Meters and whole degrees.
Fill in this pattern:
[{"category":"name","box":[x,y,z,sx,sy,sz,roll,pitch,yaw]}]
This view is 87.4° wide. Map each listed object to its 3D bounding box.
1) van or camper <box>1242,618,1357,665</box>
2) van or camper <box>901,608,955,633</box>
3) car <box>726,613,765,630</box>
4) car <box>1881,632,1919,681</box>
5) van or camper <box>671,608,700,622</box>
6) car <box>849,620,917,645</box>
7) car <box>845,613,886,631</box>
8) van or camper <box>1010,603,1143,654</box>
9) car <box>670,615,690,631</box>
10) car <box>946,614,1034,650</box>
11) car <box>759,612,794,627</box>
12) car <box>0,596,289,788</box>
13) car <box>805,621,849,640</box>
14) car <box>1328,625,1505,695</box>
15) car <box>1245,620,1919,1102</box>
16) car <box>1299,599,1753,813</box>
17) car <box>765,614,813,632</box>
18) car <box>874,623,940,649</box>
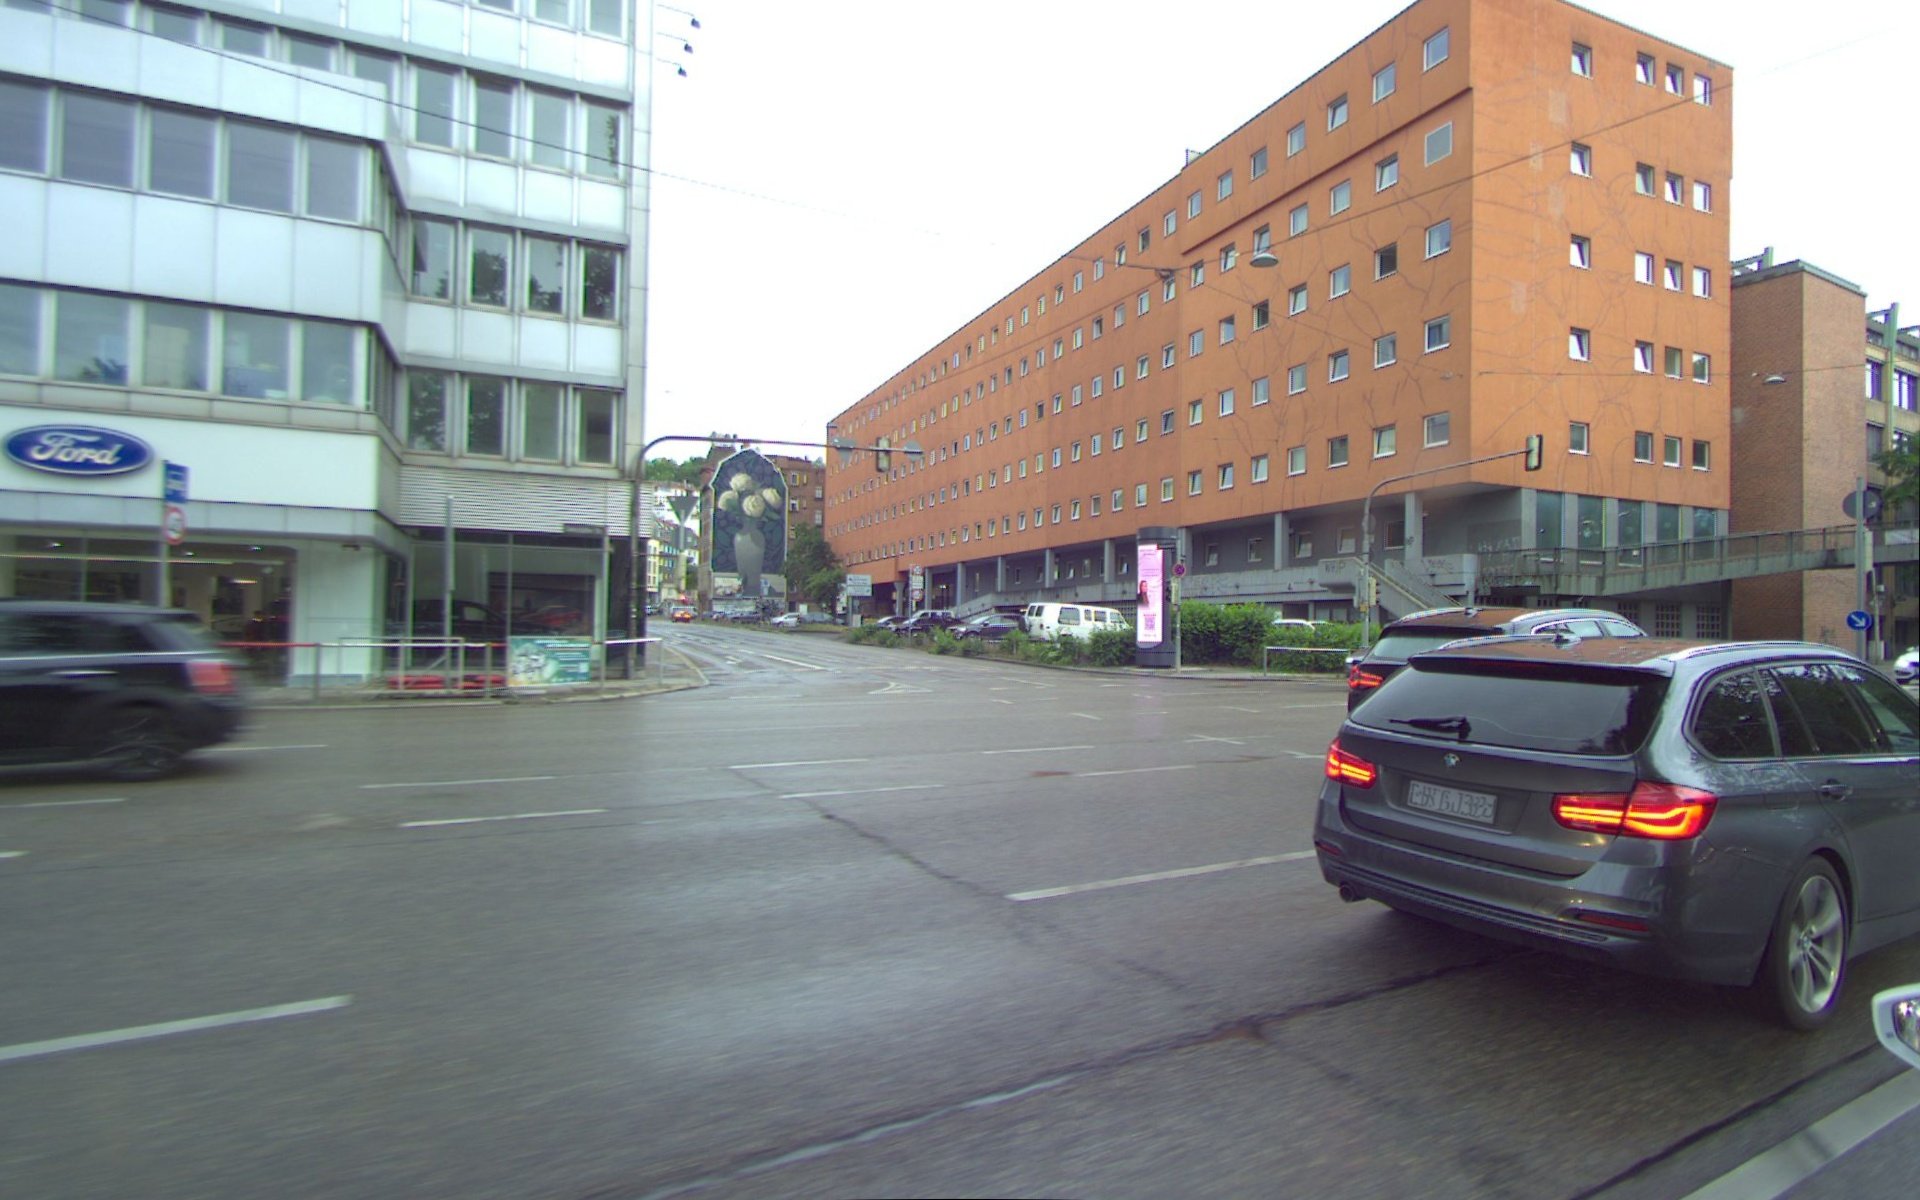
[{"category":"van or camper","box":[12.769,1.542,38.009,1.888,1.649,3.975,1,-1,-25]},{"category":"van or camper","box":[-2.845,1.814,88.398,4.315,2.004,1.962,2,1,-24]},{"category":"car","box":[-23.546,2.357,110.218,3.920,1.583,1.767,2,1,-22]},{"category":"car","box":[29.900,1.714,30.398,4.354,1.412,1.822,2,-3,-31]},{"category":"van or camper","box":[-45.539,2.520,166.598,4.556,2.040,1.990,2,1,-22]},{"category":"car","box":[-4.640,1.938,60.323,3.817,1.311,1.656,2,-1,-13]},{"category":"car","box":[-9.840,2.308,104.602,3.840,1.643,1.767,2,1,-22]},{"category":"van or camper","box":[5.053,1.237,43.541,5.380,2.004,2.119,2,1,-25]},{"category":"car","box":[-33.656,2.731,120.748,1.882,1.788,3.769,2,0,-23]},{"category":"car","box":[1.490,1.596,50.056,4.030,1.633,1.705,2,1,-24]},{"category":"car","box":[-22.114,2.355,121.032,3.920,1.583,1.767,2,1,-22]},{"category":"car","box":[-7.864,0.702,8.198,3.818,1.455,1.675,2,-2,-31]},{"category":"car","box":[-10.429,2.392,78.568,3.126,1.372,1.394,2,1,-21]},{"category":"car","box":[10.612,1.371,23.313,3.992,1.484,1.702,2,-2,-29]},{"category":"car","box":[3.669,0.877,4.983,4.424,1.477,1.768,2,-2,-30]},{"category":"car","box":[5.666,0.928,9.964,4.389,1.678,1.802,2,1,-28]},{"category":"car","box":[-15.169,2.028,89.001,3.921,1.459,1.767,2,1,-23]},{"category":"car","box":[-2.950,2.019,55.853,3.461,1.311,1.531,2,-1,-13]}]
